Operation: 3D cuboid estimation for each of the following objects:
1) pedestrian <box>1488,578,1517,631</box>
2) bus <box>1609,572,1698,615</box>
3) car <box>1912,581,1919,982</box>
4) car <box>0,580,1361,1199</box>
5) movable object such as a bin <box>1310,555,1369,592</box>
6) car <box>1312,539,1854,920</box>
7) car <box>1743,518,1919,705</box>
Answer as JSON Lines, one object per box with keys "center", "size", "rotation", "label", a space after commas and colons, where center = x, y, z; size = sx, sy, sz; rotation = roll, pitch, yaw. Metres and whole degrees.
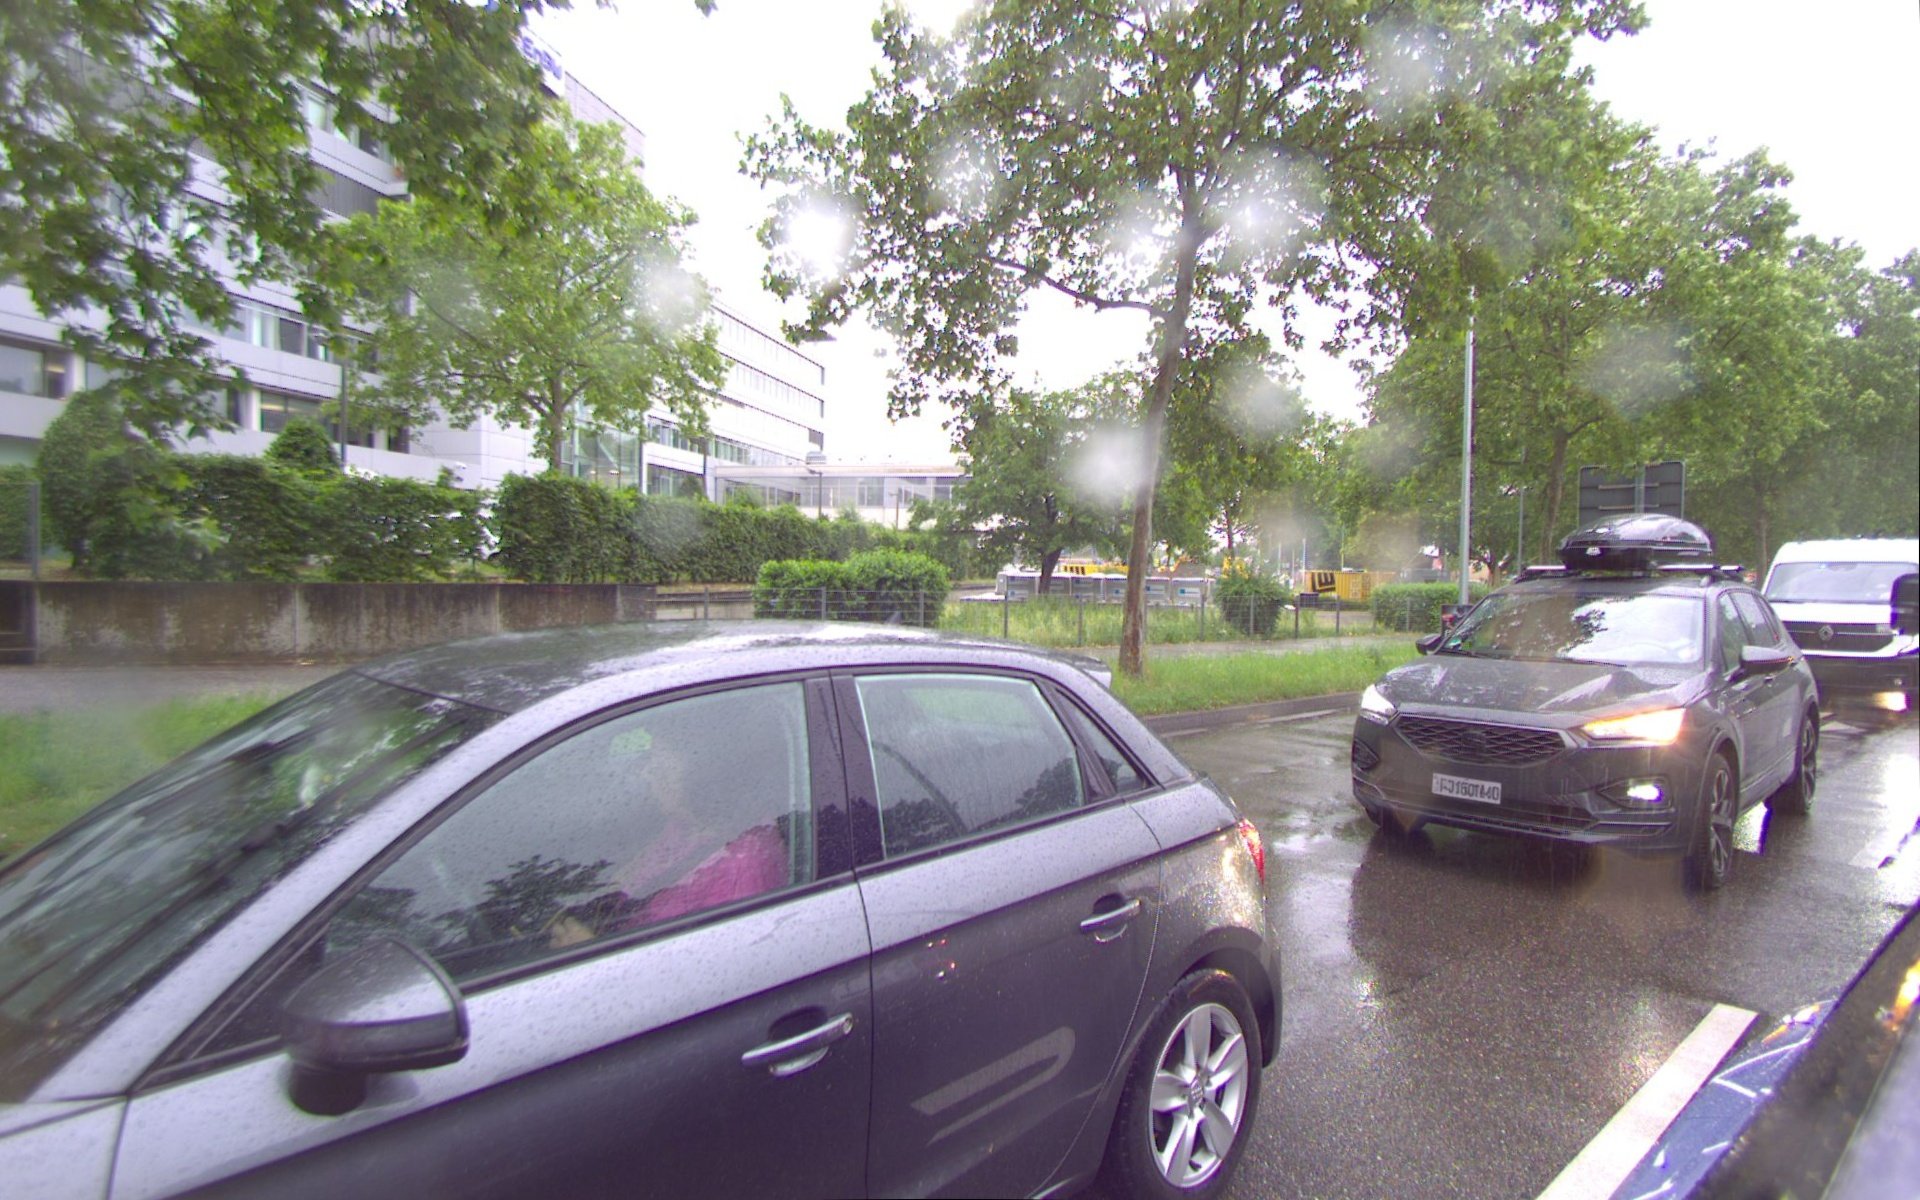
{"center": [18.260, 0.146, 34.059], "size": [0.645, 1.738, 0.645], "rotation": [0, 0, -40], "label": "pedestrian"}
{"center": [43.728, -0.416, 63.917], "size": [1.681, 2.600, 4.366], "rotation": [0, 0, -41], "label": "bus"}
{"center": [6.327, 0.179, 4.955], "size": [5.599, 2.544, 2.024], "rotation": [0, 1, -43], "label": "car"}
{"center": [-0.861, 0.692, 2.157], "size": [3.715, 1.446, 1.679], "rotation": [0, 1, -41], "label": "car"}
{"center": [35.987, -2.492, 95.933], "size": [4.840, 3.478, 1.920], "rotation": [0, 0, -4], "label": "movable object such as a bin"}
{"center": [4.335, 0.558, 6.727], "size": [4.347, 1.719, 1.892], "rotation": [0, 1, -42], "label": "car"}
{"center": [13.980, 0.126, 15.803], "size": [5.227, 2.476, 1.892], "rotation": [0, 1, -43], "label": "car"}
